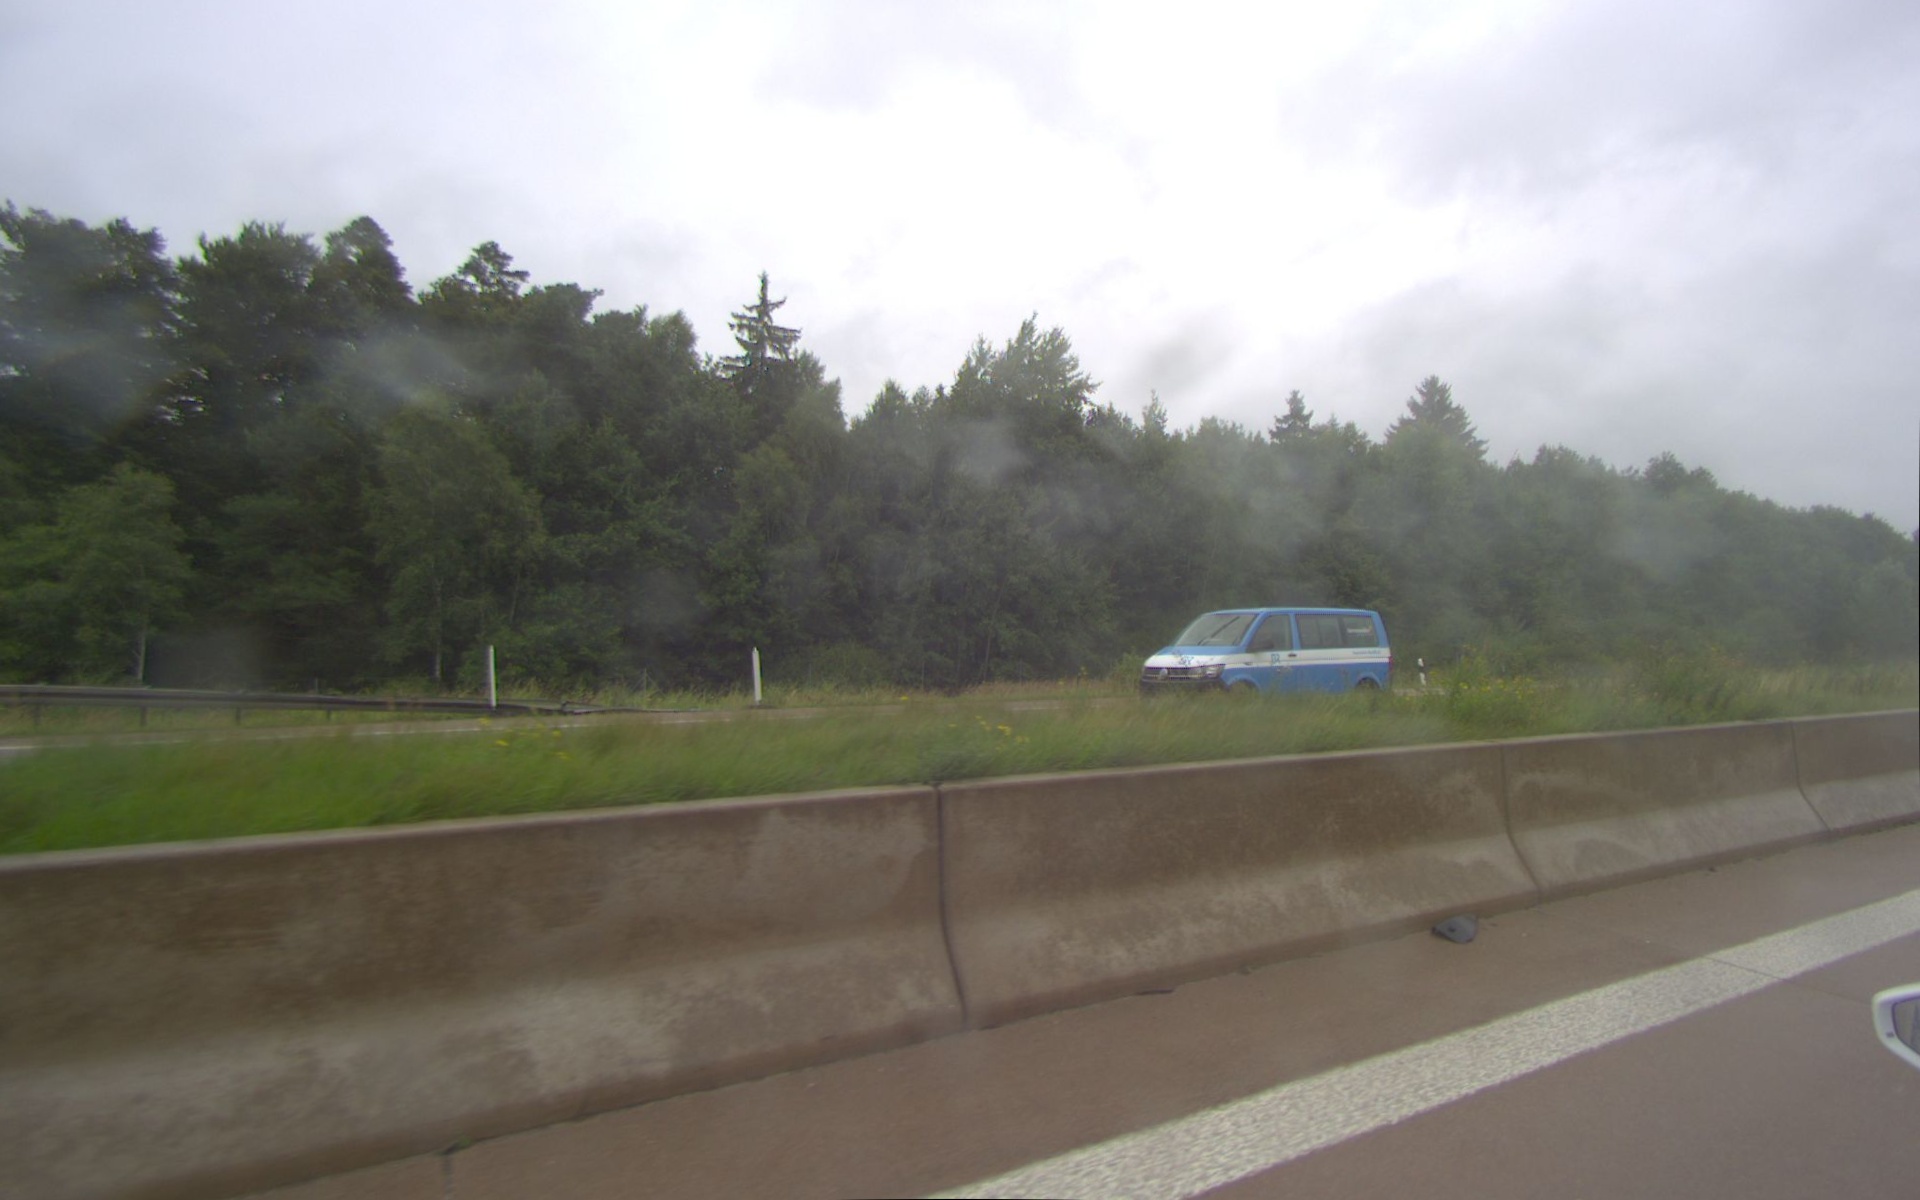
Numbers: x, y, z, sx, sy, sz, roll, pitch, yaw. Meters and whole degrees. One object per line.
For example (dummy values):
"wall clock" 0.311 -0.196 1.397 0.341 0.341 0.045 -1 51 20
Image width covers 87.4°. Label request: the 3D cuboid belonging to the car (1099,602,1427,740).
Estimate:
"car" 5.346 1.132 17.467 5.598 2.040 2.295 2 0 -31
